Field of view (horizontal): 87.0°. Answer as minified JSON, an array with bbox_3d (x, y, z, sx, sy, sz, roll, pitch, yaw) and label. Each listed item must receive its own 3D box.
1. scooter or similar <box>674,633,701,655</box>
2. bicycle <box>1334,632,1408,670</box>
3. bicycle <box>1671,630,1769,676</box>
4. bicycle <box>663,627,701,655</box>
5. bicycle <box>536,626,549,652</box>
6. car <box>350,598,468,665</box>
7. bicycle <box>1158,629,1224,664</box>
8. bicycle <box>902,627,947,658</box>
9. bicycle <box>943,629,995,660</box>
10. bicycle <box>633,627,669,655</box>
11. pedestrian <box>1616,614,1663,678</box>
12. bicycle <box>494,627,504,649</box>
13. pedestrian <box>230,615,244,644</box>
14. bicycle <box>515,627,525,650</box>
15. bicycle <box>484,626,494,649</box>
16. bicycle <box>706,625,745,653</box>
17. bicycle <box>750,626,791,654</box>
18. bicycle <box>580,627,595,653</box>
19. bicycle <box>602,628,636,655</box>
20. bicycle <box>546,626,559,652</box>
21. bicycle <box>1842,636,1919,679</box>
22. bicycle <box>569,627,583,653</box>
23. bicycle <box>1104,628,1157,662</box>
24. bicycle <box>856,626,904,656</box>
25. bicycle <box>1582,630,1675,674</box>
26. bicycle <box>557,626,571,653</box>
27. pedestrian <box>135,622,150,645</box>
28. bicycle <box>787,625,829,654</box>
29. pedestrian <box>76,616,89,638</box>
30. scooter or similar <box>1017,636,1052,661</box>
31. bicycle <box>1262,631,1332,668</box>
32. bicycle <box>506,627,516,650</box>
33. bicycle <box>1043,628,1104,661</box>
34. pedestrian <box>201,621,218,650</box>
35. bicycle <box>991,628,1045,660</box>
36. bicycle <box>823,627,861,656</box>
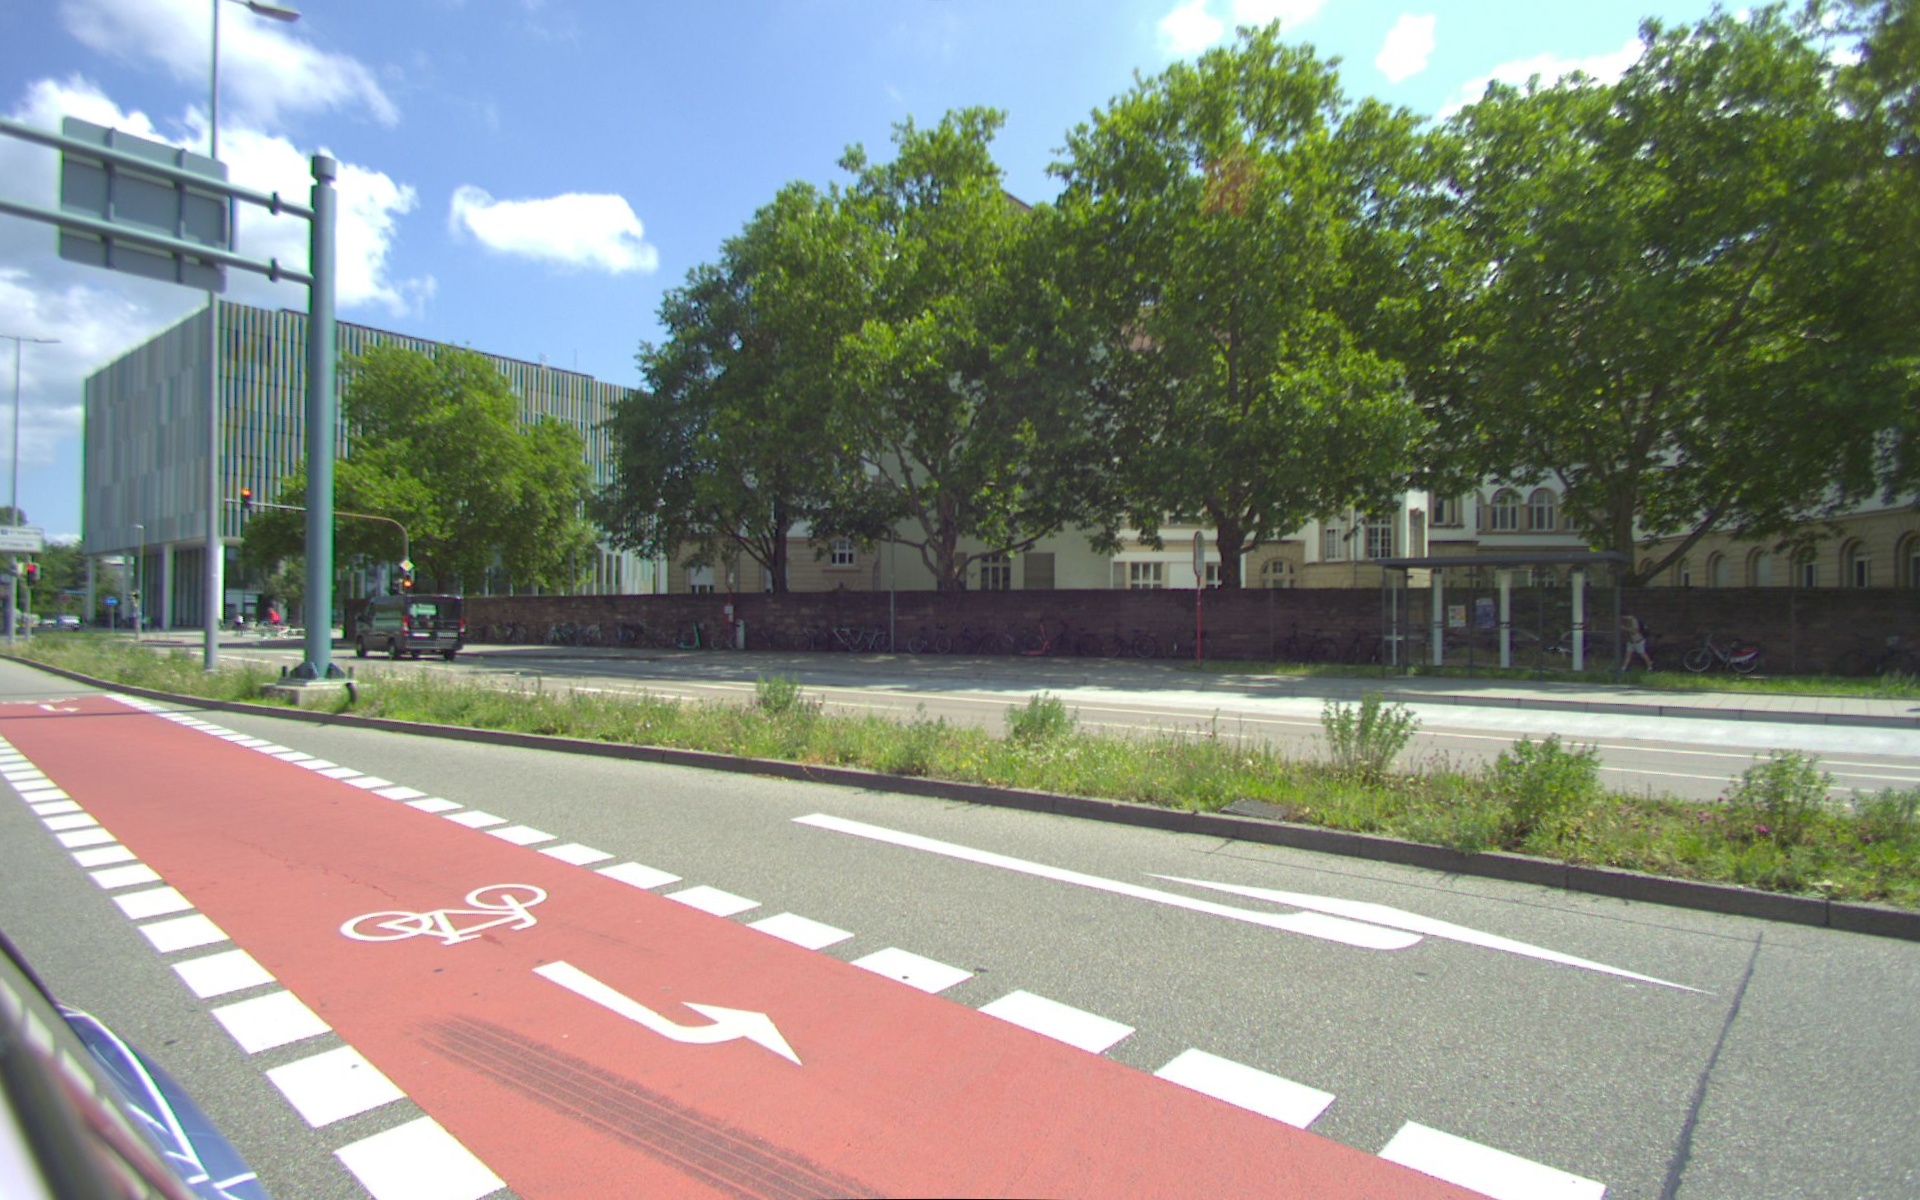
[{"bbox_3d":[-10.690,1.714,39.677,1.065,0.850,0.350,0,-2,29],"label":"scooter or similar"},{"bbox_3d":[11.815,1.453,29.114,1.945,1.051,0.395,0,-1,23],"label":"bicycle"},{"bbox_3d":[19.866,1.376,26.492,2.022,1.146,0.396,0,-1,18],"label":"bicycle"},{"bbox_3d":[-11.212,1.636,40.817,1.663,1.116,0.379,-1,-2,30],"label":"bicycle"},{"bbox_3d":[-18.619,1.731,45.128,0.376,1.116,1.676,1,-1,-27],"label":"bicycle"},{"bbox_3d":[-19.218,1.109,35.232,4.519,2.188,2.185,-1,-3,42],"label":"car"},{"bbox_3d":[7.128,1.424,31.212,1.945,1.051,0.395,0,-1,23],"label":"bicycle"},{"bbox_3d":[-1.232,1.463,35.160,1.576,1.051,0.394,0,-2,28],"label":"bicycle"},{"bbox_3d":[0.300,1.495,34.356,1.753,1.011,0.394,0,-2,28],"label":"bicycle"},{"bbox_3d":[-12.754,1.683,41.729,1.664,1.116,0.378,-1,-2,31],"label":"bicycle"},{"bbox_3d":[17.454,1.163,26.020,0.773,1.623,0.720,0,-1,12],"label":"pedestrian"},{"bbox_3d":[-21.591,1.759,47.379,0.324,1.025,1.676,1,-1,-27],"label":"bicycle"},{"bbox_3d":[-49.481,2.009,69.247,0.718,1.932,0.624,0,0,38],"label":"pedestrian"},{"bbox_3d":[-20.206,1.766,46.472,0.324,1.025,1.676,1,-1,-27],"label":"bicycle"},{"bbox_3d":[-22.225,1.761,47.762,0.324,1.025,1.676,1,-1,-27],"label":"bicycle"},{"bbox_3d":[-9.149,1.521,39.391,1.663,1.051,0.379,0,-2,30],"label":"bicycle"},{"bbox_3d":[-7.193,1.517,38.349,1.663,1.051,0.379,0,-2,30],"label":"bicycle"},{"bbox_3d":[-16.074,1.722,43.685,0.376,1.116,1.676,1,-1,-27],"label":"bicycle"},{"bbox_3d":[-14.437,1.730,42.860,1.665,1.116,0.378,-1,-2,33],"label":"bicycle"},{"bbox_3d":[-18.123,1.729,45.034,0.376,1.116,1.676,1,-1,-27],"label":"bicycle"},{"bbox_3d":[23.263,1.441,25.397,1.671,1.038,0.396,0,-1,15],"label":"bicycle"},{"bbox_3d":[-16.730,1.724,44.083,0.376,1.116,1.676,1,-1,-27],"label":"bicycle"},{"bbox_3d":[5.383,1.421,31.947,1.629,1.051,0.395,0,-1,23],"label":"bicycle"},{"bbox_3d":[-2.861,1.446,35.999,1.753,1.051,0.394,0,-2,28],"label":"bicycle"},{"bbox_3d":[17.869,1.383,27.094,2.022,1.146,0.396,0,-1,18],"label":"bicycle"},{"bbox_3d":[-17.442,1.728,44.575,0.376,1.116,1.676,1,-1,-27],"label":"bicycle"},{"bbox_3d":[-69.011,2.828,85.431,0.806,1.931,0.816,0,0,36],"label":"pedestrian"},{"bbox_3d":[-5.652,1.455,37.499,1.663,1.051,0.379,0,-2,30],"label":"bicycle"},{"bbox_3d":[-76.590,2.352,88.311,0.806,1.931,0.706,0,0,36],"label":"pedestrian"},{"bbox_3d":[2.405,1.557,32.583,1.060,0.800,0.351,0,-1,17],"label":"scooter or similar"},{"bbox_3d":[9.957,1.462,29.911,1.945,1.051,0.395,0,-1,23],"label":"bicycle"},{"bbox_3d":[-20.809,1.761,46.864,0.324,1.025,1.676,1,-1,-27],"label":"bicycle"},{"bbox_3d":[3.664,1.428,32.681,1.946,1.051,0.394,0,-1,25],"label":"bicycle"},{"bbox_3d":[-52.473,2.474,70.748,0.806,1.931,0.706,0,0,36],"label":"pedestrian"},{"bbox_3d":[1.915,1.448,33.528,1.752,1.051,0.394,0,-2,26],"label":"bicycle"},{"bbox_3d":[-4.275,1.506,36.745,1.410,1.051,0.374,0,-2,28],"label":"bicycle"}]
